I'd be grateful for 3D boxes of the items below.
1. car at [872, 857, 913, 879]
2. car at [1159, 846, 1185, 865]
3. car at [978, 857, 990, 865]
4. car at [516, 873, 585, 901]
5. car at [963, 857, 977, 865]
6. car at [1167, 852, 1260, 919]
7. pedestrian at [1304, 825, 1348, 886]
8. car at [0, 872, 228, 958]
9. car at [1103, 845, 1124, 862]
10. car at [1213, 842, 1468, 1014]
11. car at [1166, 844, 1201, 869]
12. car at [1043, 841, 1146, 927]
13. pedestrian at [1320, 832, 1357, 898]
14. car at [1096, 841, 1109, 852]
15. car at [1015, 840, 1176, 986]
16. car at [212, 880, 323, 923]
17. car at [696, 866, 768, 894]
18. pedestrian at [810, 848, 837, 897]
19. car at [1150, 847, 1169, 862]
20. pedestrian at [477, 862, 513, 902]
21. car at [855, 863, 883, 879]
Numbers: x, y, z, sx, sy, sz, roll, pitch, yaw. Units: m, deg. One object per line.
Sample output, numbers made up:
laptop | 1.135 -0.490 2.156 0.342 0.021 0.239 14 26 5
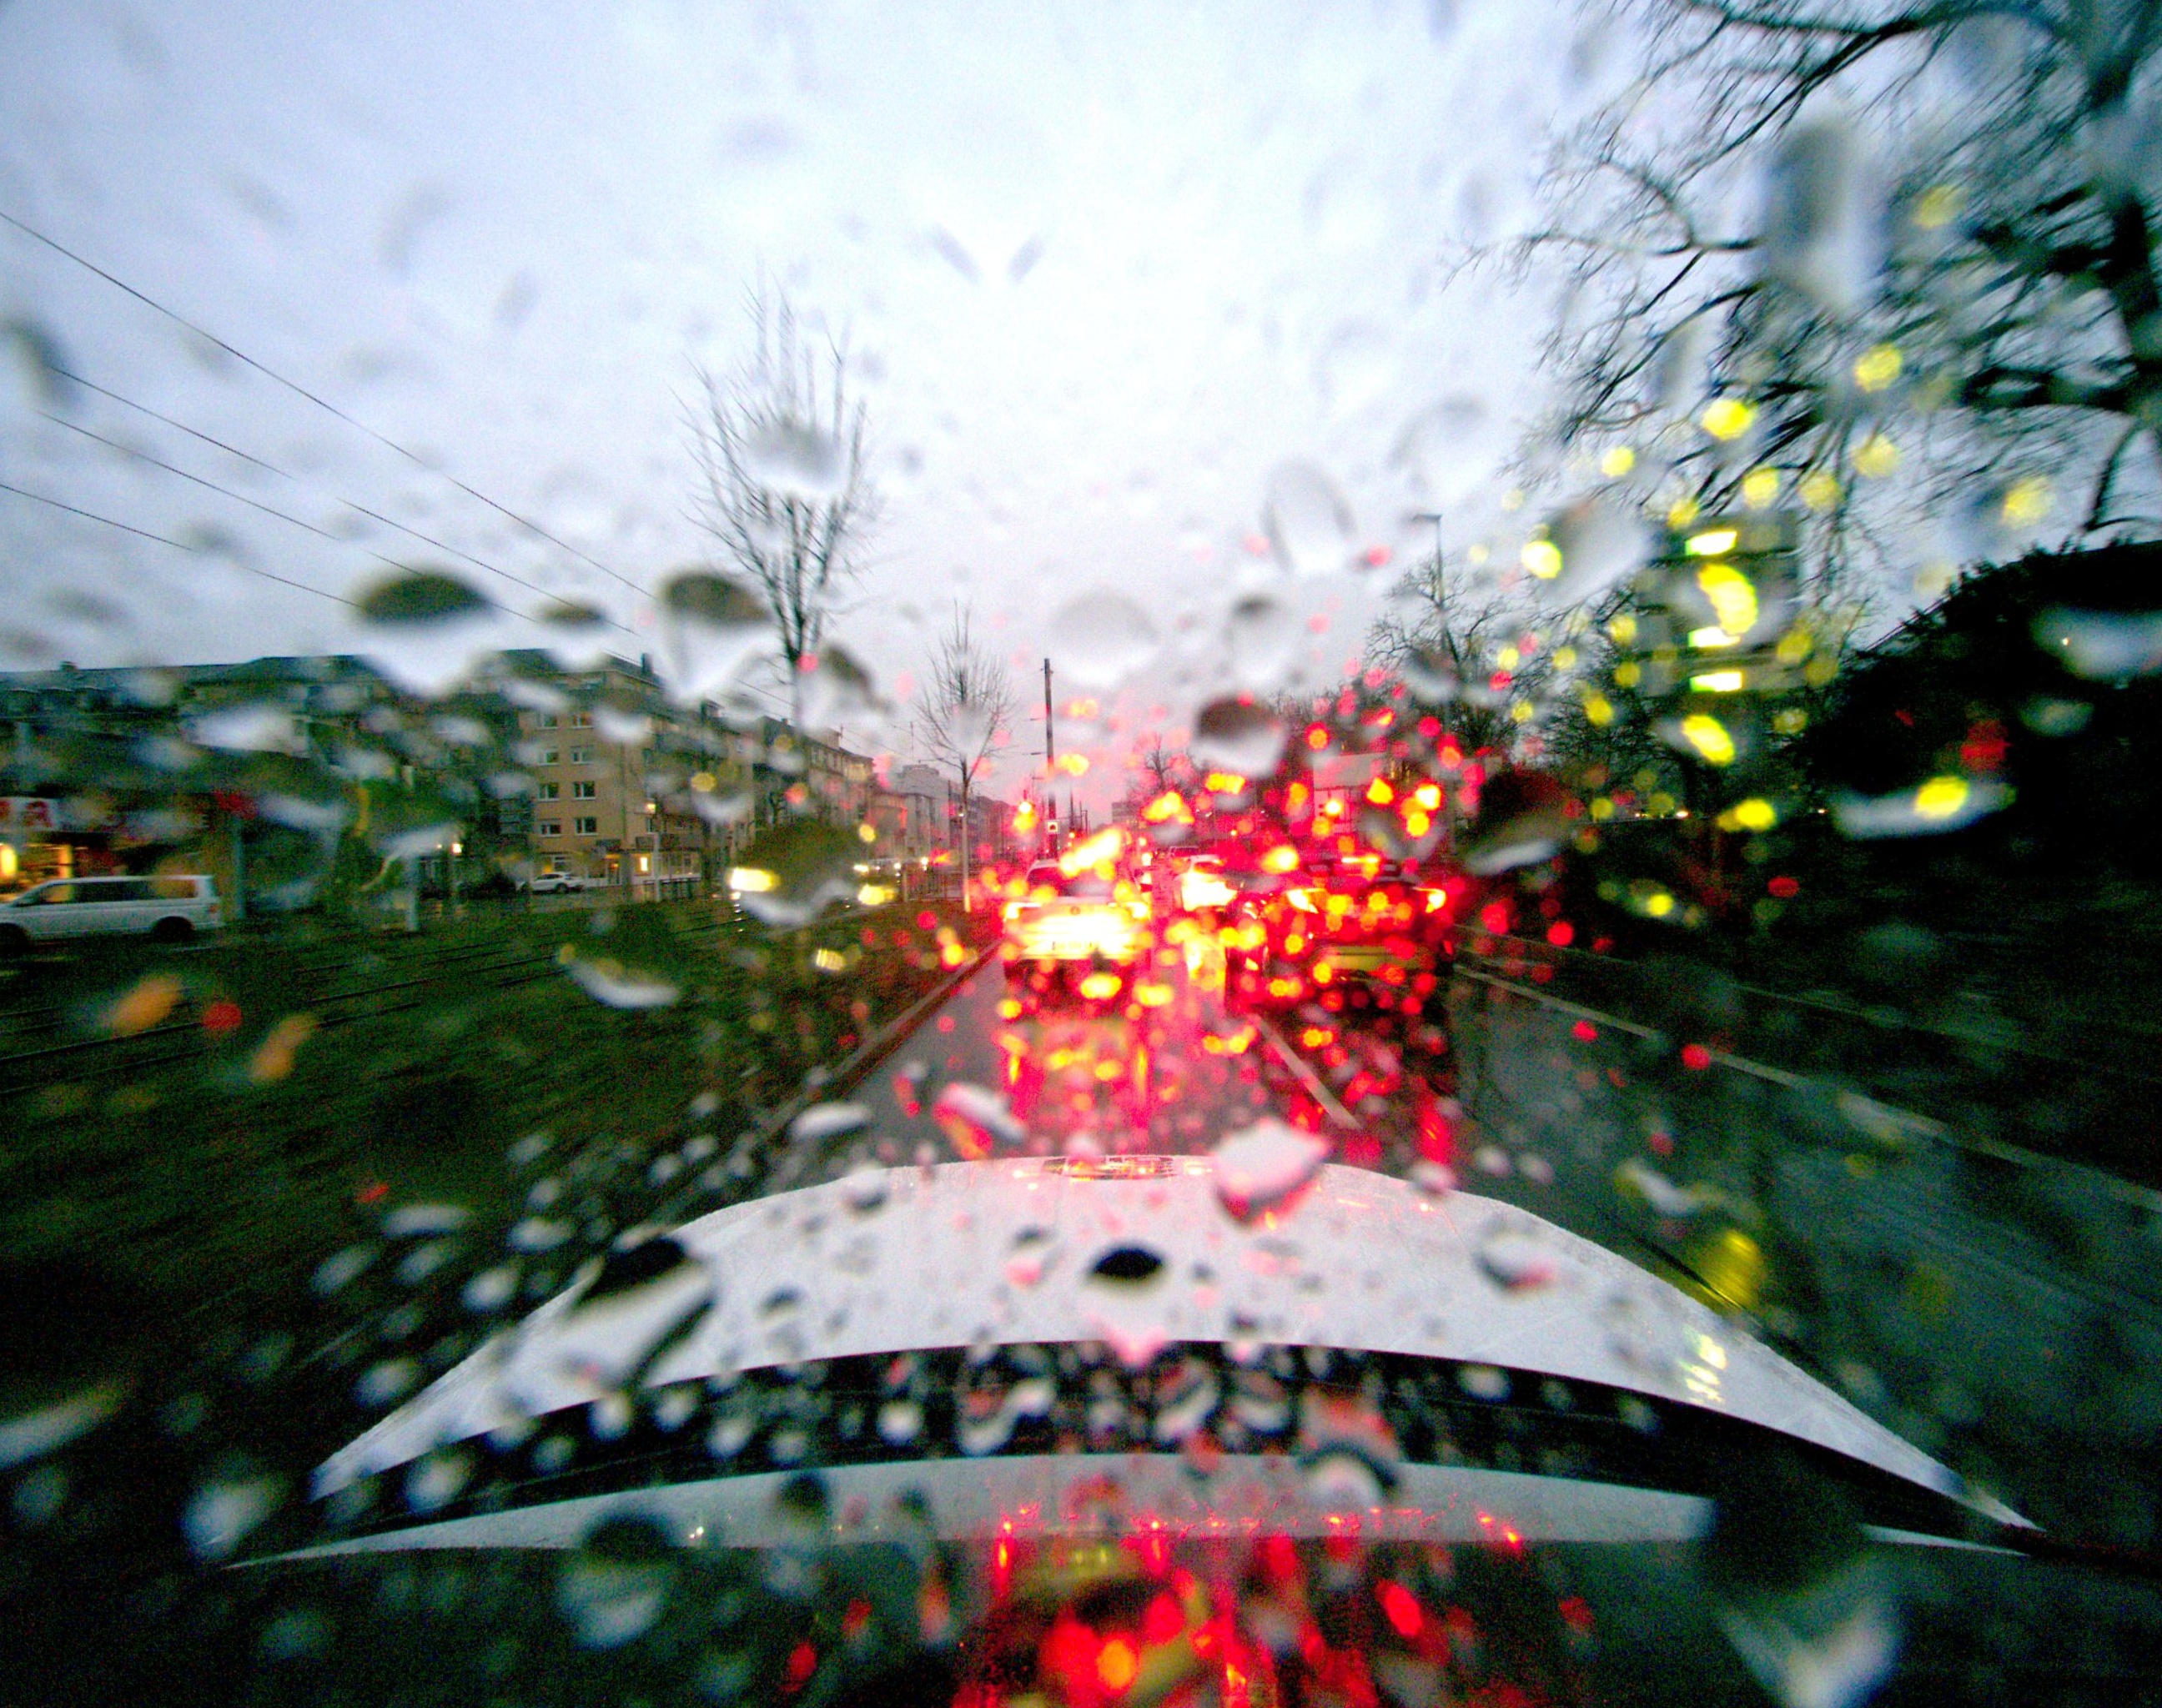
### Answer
car | -13.699 0.998 59.550 1.986 1.602 4.001 0 0 1
car | 7.293 0.122 65.474 1.731 1.419 3.705 -2 0 2
car | -21.502 1.502 180.287 1.942 1.602 4.002 0 0 2
car | -38.256 2.376 58.805 3.743 1.942 1.838 0 0 -6
car | -22.245 1.450 163.256 1.942 1.602 4.002 0 0 2
car | 3.002 0.673 19.159 1.738 1.433 3.734 0 0 2
pedestrian | 8.458 0.052 28.136 0.962 2.013 1.001 -2 0 -20
car | -28.564 1.689 23.828 4.859 2.244 1.975 0 0 -44
car | 2.915 -0.079 73.336 1.731 1.419 4.396 -2 0 2
car | 2.679 0.671 9.380 1.793 1.511 3.897 -2 0 2
car | 6.154 0.140 49.158 1.731 1.419 3.705 -2 0 2
car | 0.333 0.514 16.846 1.792 1.466 4.588 -2 0 2
pedestrian | 8.188 0.338 25.964 0.953 2.013 1.011 -2 0 10
car | 2.967 -0.981 111.388 1.731 1.419 3.806 -2 0 2
car | 0.150 0.614 10.667 1.688 1.533 3.999 -1 0 0
car | -42.829 2.457 43.028 1.886 2.013 3.876 0 0 2
car | -18.590 1.360 43.640 1.852 1.332 4.317 0 0 2
pedestrian | -10.950 0.766 34.643 1.006 2.013 0.957 -2 0 -16
car | 7.984 0.047 83.192 1.731 1.419 4.148 -2 0 2
pedestrian | -31.024 1.481 43.160 1.274 2.013 1.000 -2 0 -22
car | -19.128 1.546 73.590 1.687 1.277 4.142 -2 0 -4
